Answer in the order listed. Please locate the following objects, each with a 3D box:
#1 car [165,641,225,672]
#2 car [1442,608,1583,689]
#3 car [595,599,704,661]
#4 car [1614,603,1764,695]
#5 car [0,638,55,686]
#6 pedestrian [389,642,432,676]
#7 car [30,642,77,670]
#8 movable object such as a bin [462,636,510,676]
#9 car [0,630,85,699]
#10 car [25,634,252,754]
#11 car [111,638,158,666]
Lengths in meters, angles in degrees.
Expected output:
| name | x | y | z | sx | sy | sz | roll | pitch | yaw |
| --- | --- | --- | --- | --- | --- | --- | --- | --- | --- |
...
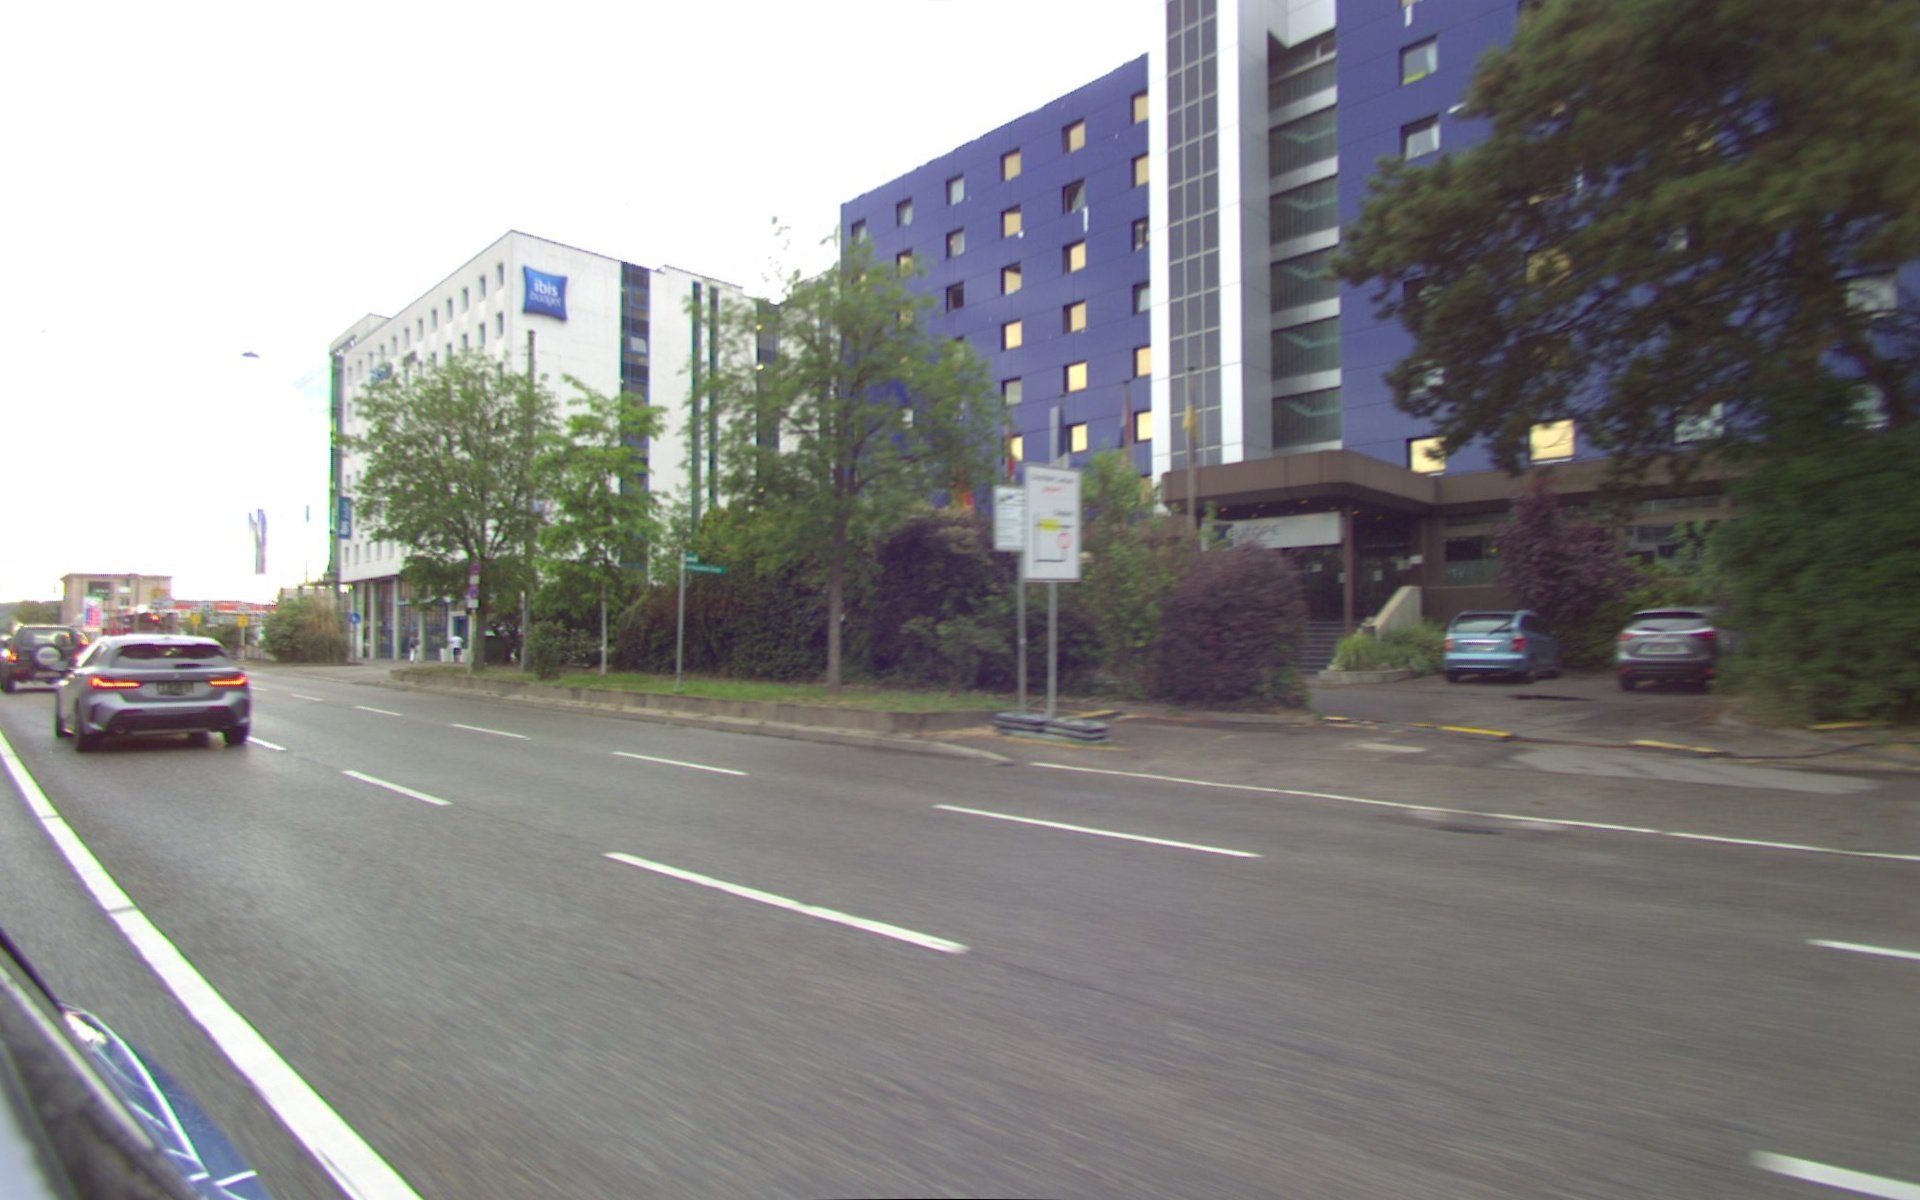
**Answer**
| name | x | y | z | sx | sy | sz | roll | pitch | yaw |
| --- | --- | --- | --- | --- | --- | --- | --- | --- | --- |
| car | -34.900 | 2.581 | 46.110 | 1.602 | 1.334 | 4.449 | 4 | -5 | -44 |
| car | 12.976 | 1.087 | 23.680 | 3.940 | 1.717 | 1.746 | 1 | -3 | -44 |
| car | -11.176 | 1.037 | 36.244 | 4.318 | 2.029 | 1.815 | 0 | -4 | 45 |
| car | 14.698 | 0.984 | 20.360 | 3.368 | 1.679 | 1.819 | 2 | -5 | -44 |
| car | -31.004 | 2.014 | 33.230 | 3.821 | 1.497 | 1.640 | -2 | -3 | 45 |
| pedestrian | -29.900 | 3.203 | 55.115 | 1.965 | 1.734 | 1.701 | 0 | -3 | -26 |
| car | -54.708 | 3.426 | 61.070 | 4.451 | 1.568 | 1.736 | -4 | -7 | 44 |
| movable object such as a bin | -18.435 | 2.187 | 39.383 | 0.950 | 1.502 | 1.377 | -5 | -7 | 38 |
| car | -23.874 | 1.666 | 26.231 | 3.421 | 1.679 | 1.486 | -4 | -5 | 44 |
| car | -11.182 | 1.163 | 13.681 | 3.998 | 1.376 | 1.694 | -2 | -3 | 41 |
| car | -49.931 | 3.156 | 61.198 | 4.036 | 1.578 | 1.688 | -4 | -6 | 45 |
